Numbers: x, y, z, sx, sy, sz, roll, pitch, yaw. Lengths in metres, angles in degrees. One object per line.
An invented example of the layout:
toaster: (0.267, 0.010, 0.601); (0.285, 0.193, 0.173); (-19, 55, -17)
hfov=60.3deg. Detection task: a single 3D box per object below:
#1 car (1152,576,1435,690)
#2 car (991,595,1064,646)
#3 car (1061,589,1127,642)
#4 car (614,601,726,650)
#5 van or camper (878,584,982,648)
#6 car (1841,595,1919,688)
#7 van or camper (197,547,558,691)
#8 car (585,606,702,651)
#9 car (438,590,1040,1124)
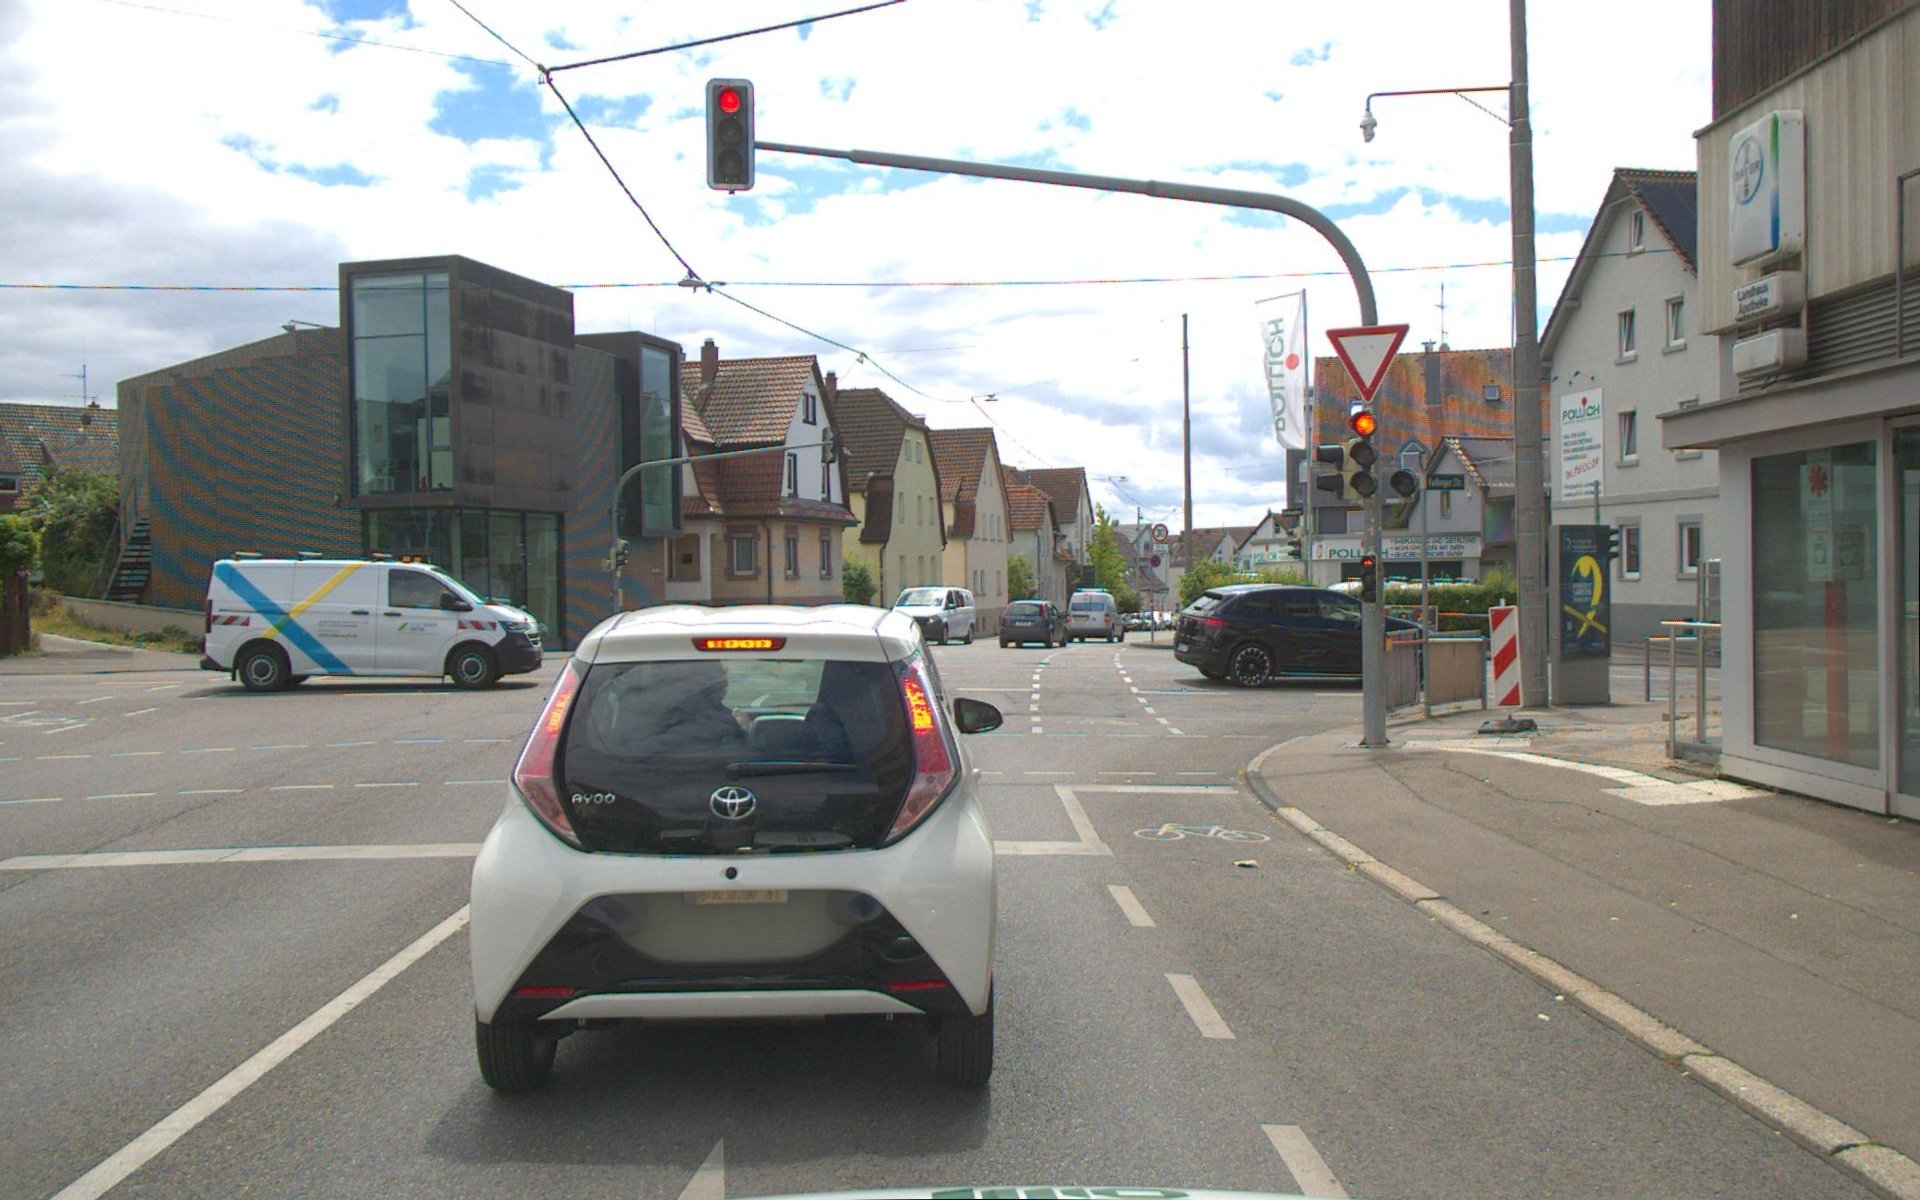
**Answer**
car: (5.732, 0.523, 28.694); (4.417, 1.773, 1.996); (-1, 2, -10)
car: (2.166, 0.607, 51.899); (1.951, 1.512, 4.003); (1, 0, 7)
car: (5.058, 0.555, 62.044); (1.951, 1.881, 4.076); (1, 0, 12)
car: (-10.270, 0.885, 58.696); (3.537, 1.633, 1.693); (1, 0, 11)
van or camper: (-0.895, 0.490, 53.743); (2.070, 1.959, 5.289); (1, 0, 14)
car: (19.517, 0.745, 31.860); (4.216, 1.705, 1.994); (-1, 0, -12)
van or camper: (-8.962, 0.263, 25.900); (5.024, 2.113, 1.995); (-1, 0, -10)
car: (-10.810, 0.974, 56.564); (3.537, 1.444, 1.693); (1, 0, 11)
car: (-0.684, 0.723, 6.288); (1.663, 1.482, 3.297); (1, 0, -3)
